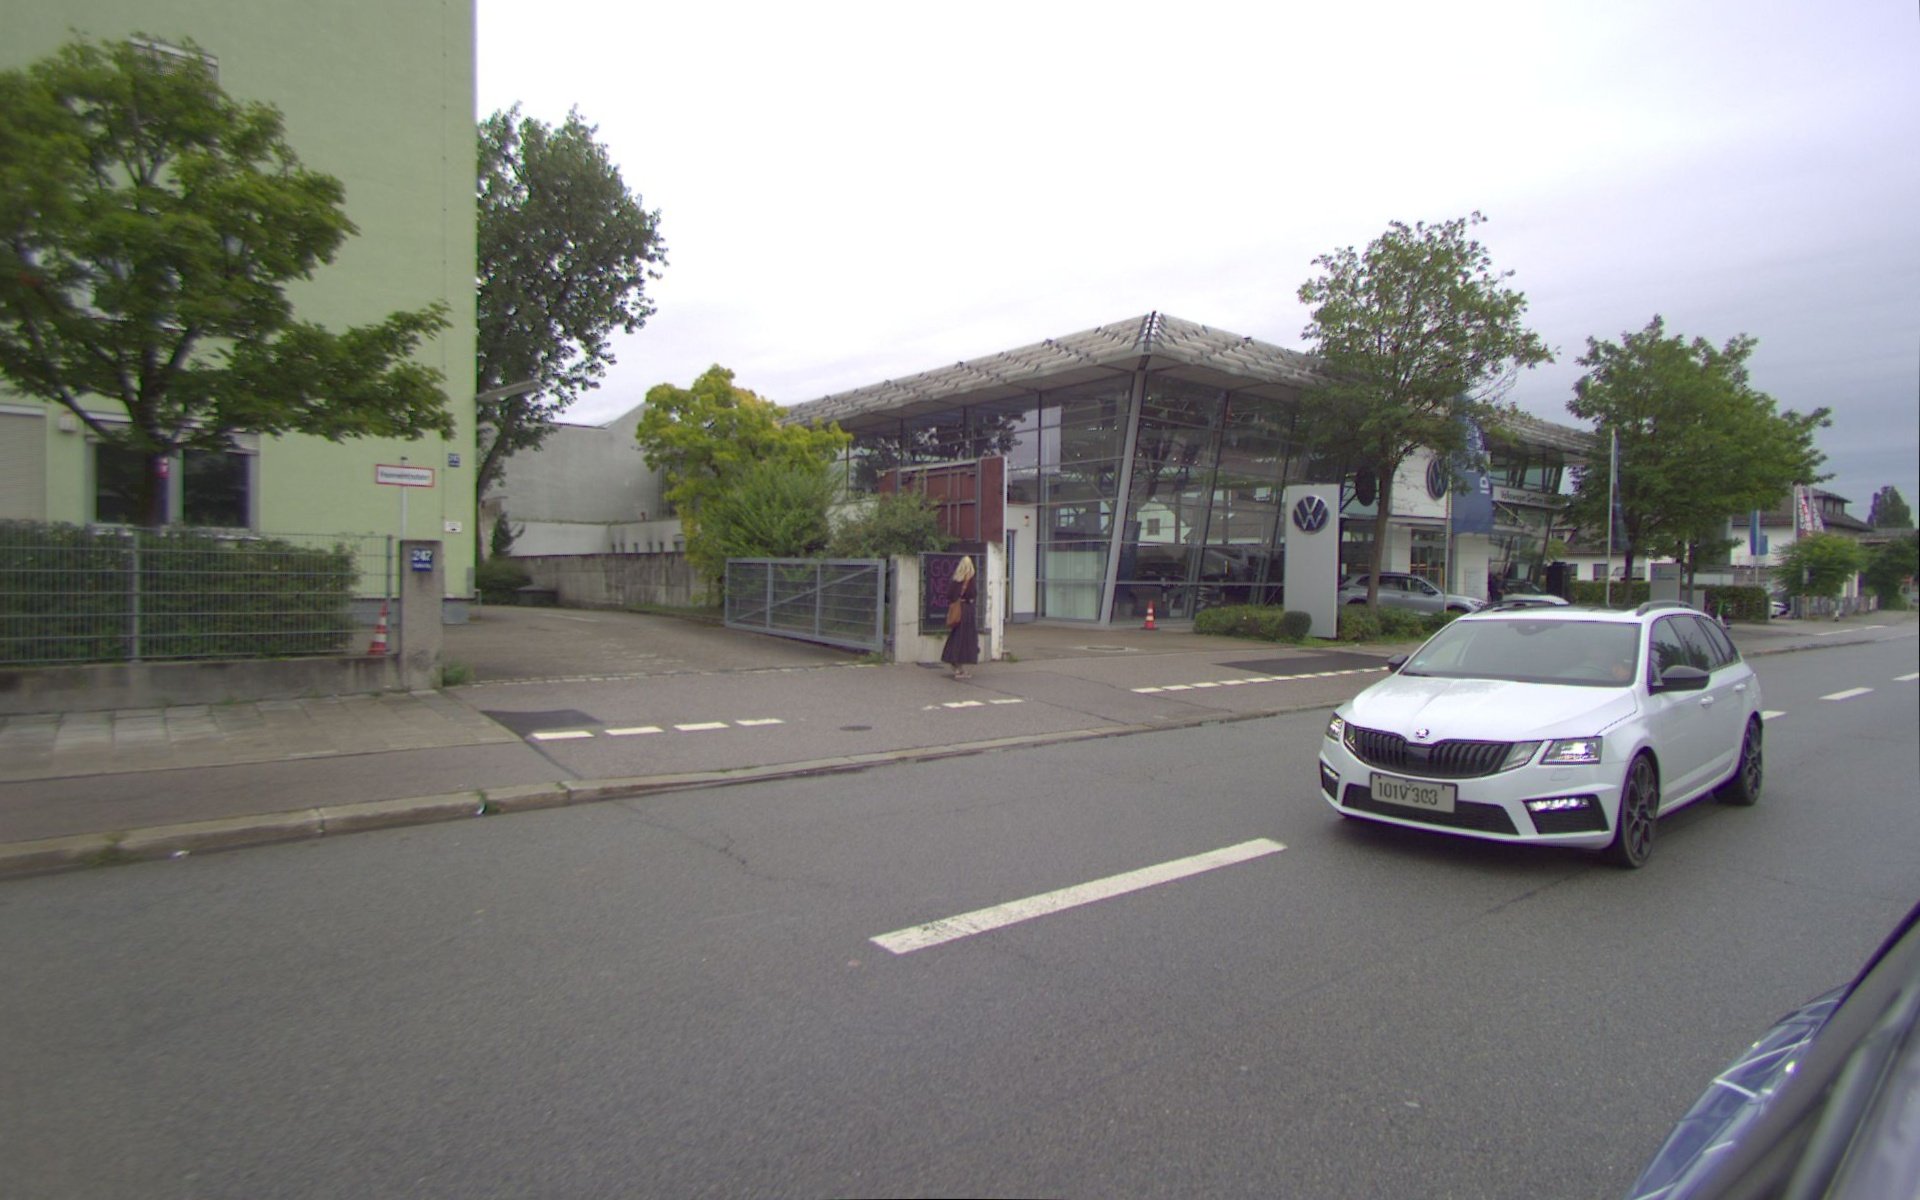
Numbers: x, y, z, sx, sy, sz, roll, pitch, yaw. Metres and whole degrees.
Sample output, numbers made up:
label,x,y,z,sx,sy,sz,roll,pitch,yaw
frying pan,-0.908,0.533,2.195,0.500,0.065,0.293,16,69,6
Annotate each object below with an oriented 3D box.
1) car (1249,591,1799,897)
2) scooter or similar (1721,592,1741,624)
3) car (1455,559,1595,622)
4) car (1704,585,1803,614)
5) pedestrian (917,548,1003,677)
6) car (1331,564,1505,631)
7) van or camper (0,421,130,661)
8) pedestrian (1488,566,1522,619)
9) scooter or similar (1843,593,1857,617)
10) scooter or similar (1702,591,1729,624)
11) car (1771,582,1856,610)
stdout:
label,x,y,z,sx,sy,sz,roll,pitch,yaw
car,4.125,0.684,7.055,4.475,1.466,1.913,0,0,-40
scooter or similar,31.314,0.318,41.104,0.495,1.219,1.409,5,5,41
car,20.235,-0.393,36.470,1.922,2.038,4.273,1,3,-15
car,43.995,-0.059,56.186,1.761,1.478,4.024,0,2,-38
pedestrian,-0.004,0.158,14.473,0.878,1.749,0.761,1,4,-34
car,13.816,-0.153,30.586,4.568,1.727,1.986,3,4,31
van or camper,-13.015,-0.647,9.994,7.245,2.528,2.133,0,1,-33
pedestrian,18.830,-0.252,34.998,0.793,1.798,0.715,1,1,7
scooter or similar,47.512,0.256,54.019,0.396,1.237,1.618,4,4,37
scooter or similar,29.614,0.302,39.671,1.405,1.219,0.497,1,3,-42
car,57.284,-0.302,67.943,1.893,1.747,4.105,0,1,-40
